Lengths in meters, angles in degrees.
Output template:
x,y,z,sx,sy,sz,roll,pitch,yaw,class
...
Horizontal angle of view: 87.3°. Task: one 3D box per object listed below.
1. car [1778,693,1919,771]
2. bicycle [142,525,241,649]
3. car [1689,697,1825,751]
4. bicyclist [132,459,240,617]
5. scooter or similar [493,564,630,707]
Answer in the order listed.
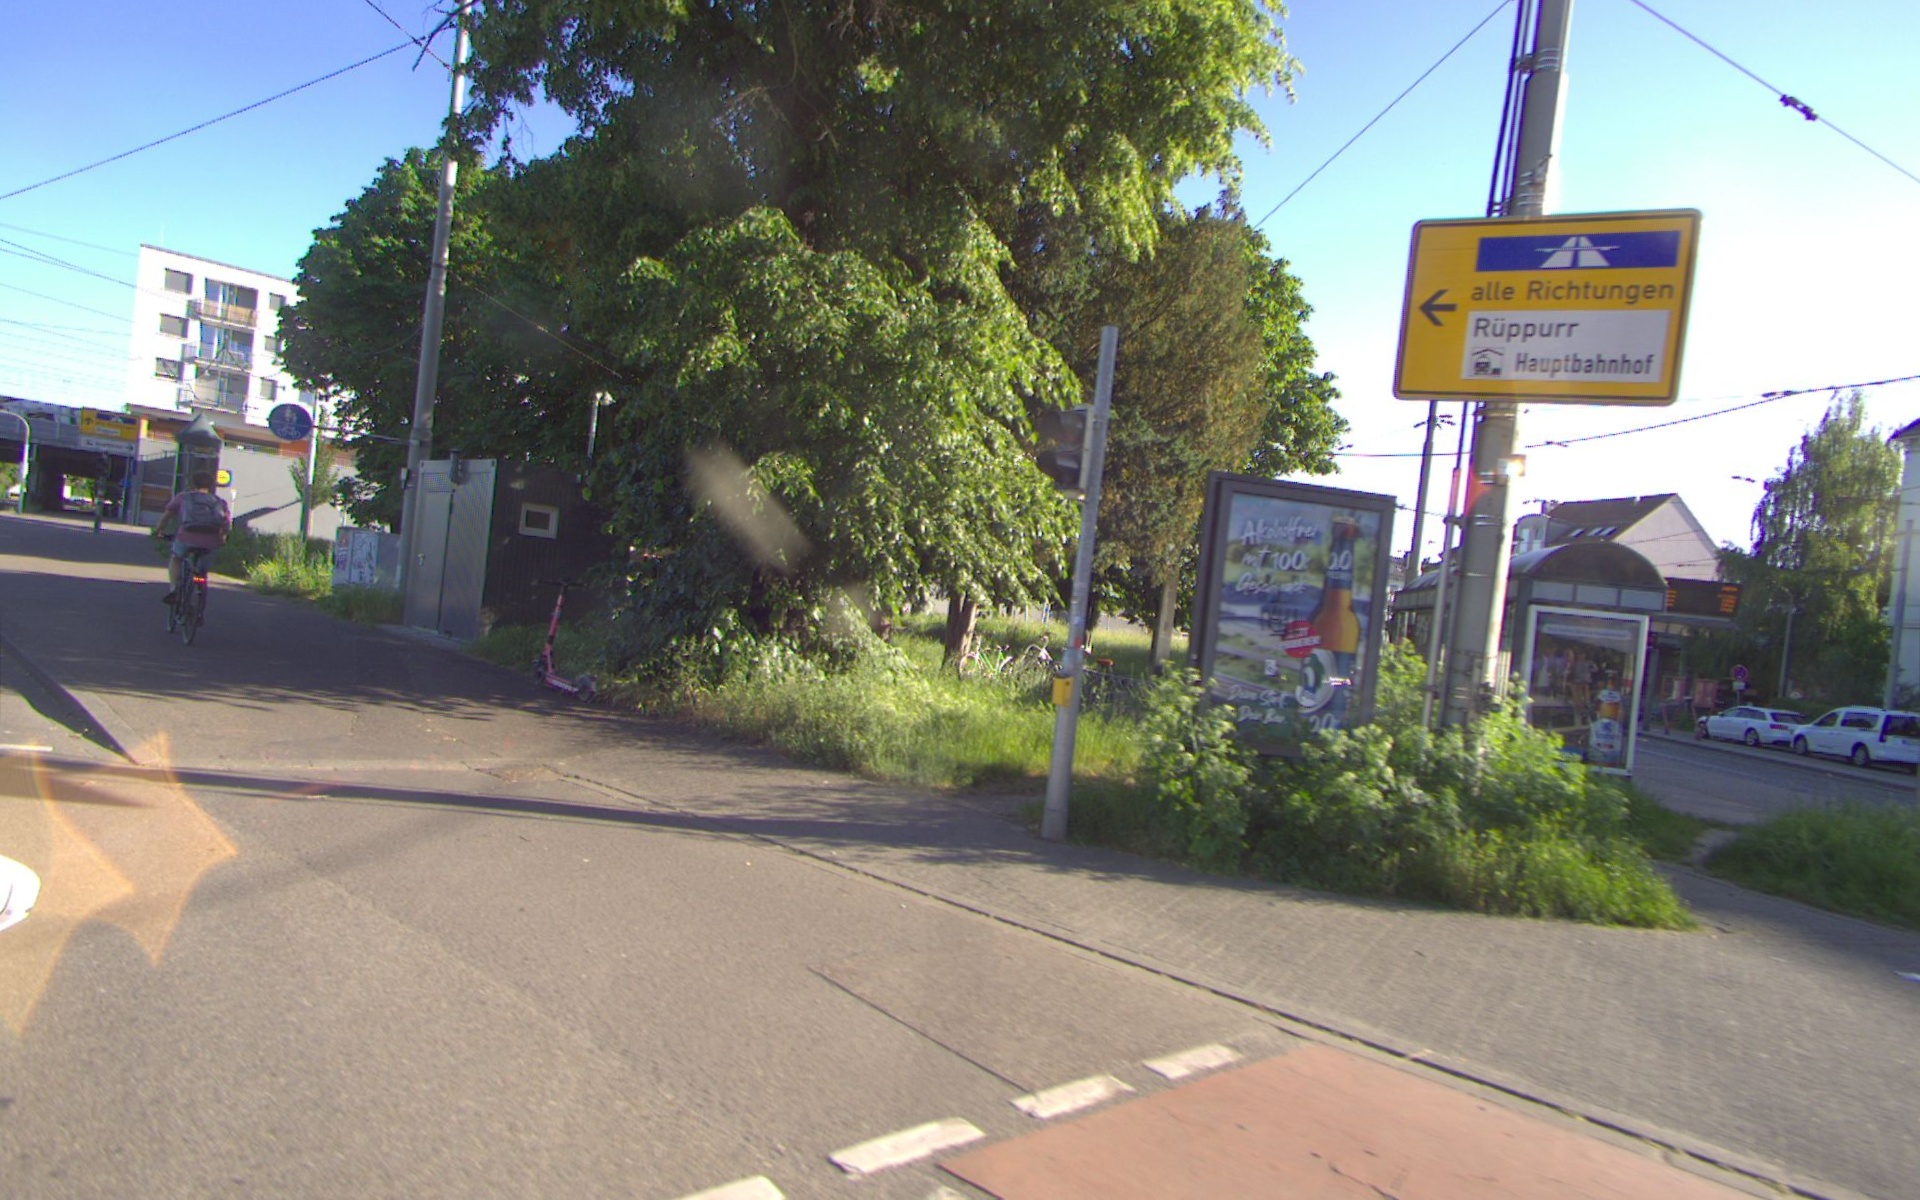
x,y,z,sx,sy,sz,roll,pitch,yaw,class
28.674,4.166,31.959,1.874,1.986,4.337,7,-2,4,car
-8.760,-0.180,11.430,0.715,1.208,1.978,5,2,-41,bicycle
29.358,4.536,37.236,1.659,1.444,4.383,7,-2,4,car
-8.711,-0.696,11.311,0.808,1.620,1.136,5,2,-41,bicyclist
-4.244,0.341,10.647,1.805,1.235,0.383,9,4,37,scooter or similar
